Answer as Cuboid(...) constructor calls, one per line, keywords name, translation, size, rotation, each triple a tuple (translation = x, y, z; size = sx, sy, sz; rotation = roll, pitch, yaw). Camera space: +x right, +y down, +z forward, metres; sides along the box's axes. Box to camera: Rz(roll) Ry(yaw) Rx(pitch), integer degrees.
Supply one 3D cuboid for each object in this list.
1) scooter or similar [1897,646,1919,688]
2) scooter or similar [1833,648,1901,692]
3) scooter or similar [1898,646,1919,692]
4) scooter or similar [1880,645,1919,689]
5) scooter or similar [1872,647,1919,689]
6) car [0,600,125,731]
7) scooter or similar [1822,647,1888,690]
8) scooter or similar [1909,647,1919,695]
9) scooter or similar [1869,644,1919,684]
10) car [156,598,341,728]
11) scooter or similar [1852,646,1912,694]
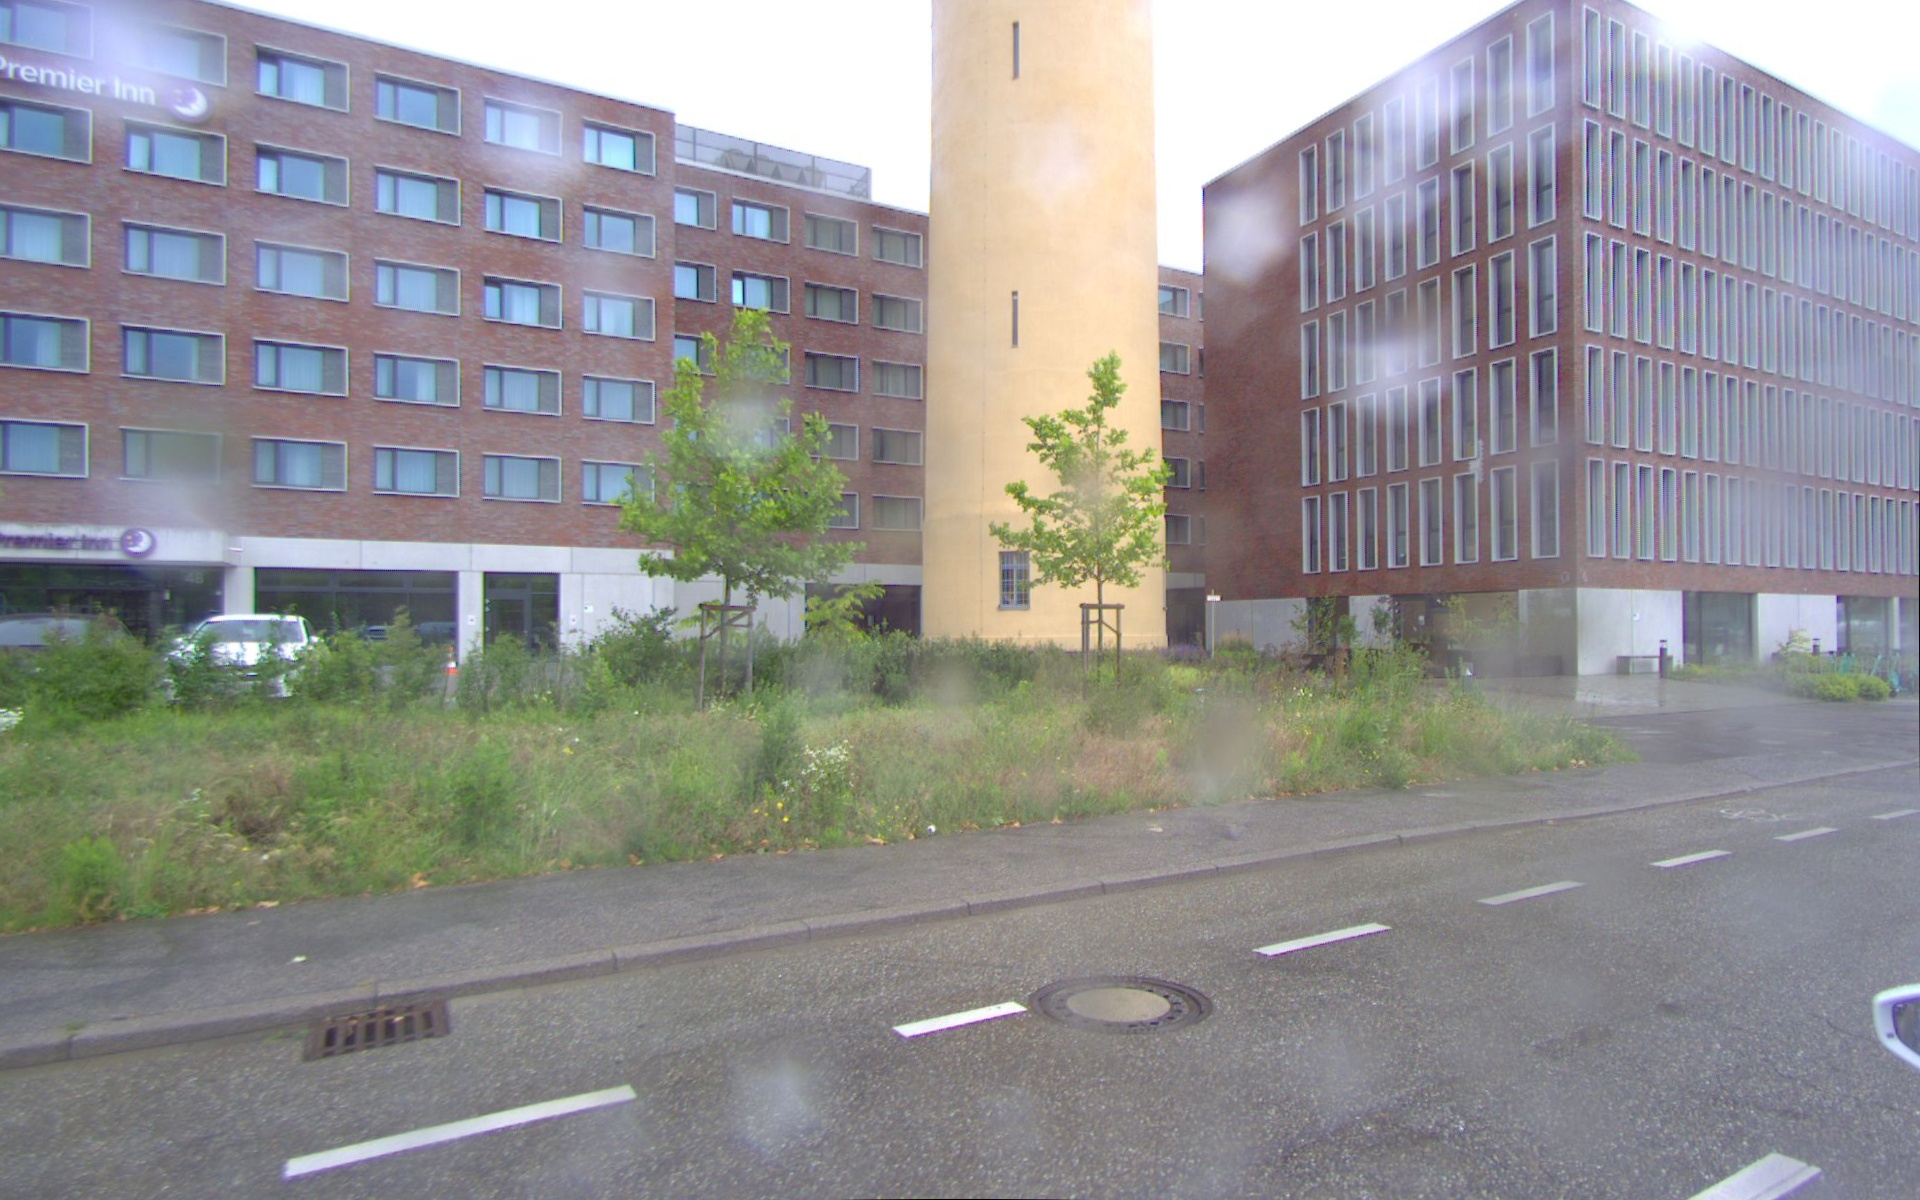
Cuboid(name="scooter or similar", translation=(28.509, 1.971, 29.613), size=(1.183, 1.224, 0.468), rotation=(-1, -2, 12))
Cuboid(name="scooter or similar", translation=(25.349, 1.939, 28.090), size=(0.461, 1.193, 1.313), rotation=(0, -2, -24))
Cuboid(name="scooter or similar", translation=(26.547, 1.898, 27.869), size=(0.459, 1.246, 1.318), rotation=(-2, -2, 31))
Cuboid(name="scooter or similar", translation=(27.743, 1.948, 29.318), size=(1.183, 1.246, 0.468), rotation=(-1, -2, 12))
Cuboid(name="scooter or similar", translation=(27.092, 1.939, 28.823), size=(0.464, 1.193, 1.305), rotation=(1, -3, -41))
Cuboid(name="car", translation=(-13.353, 0.858, 14.033), size=(1.978, 1.600, 4.496), rotation=(2, -2, -32))
Cuboid(name="scooter or similar", translation=(25.604, 1.950, 28.761), size=(0.461, 1.193, 1.313), rotation=(0, -2, -24))
Cuboid(name="scooter or similar", translation=(25.734, 1.875, 26.681), size=(1.307, 1.246, 0.463), rotation=(1, -2, -34))
Cuboid(name="scooter or similar", translation=(29.516, 2.004, 31.648), size=(0.411, 1.224, 1.224), rotation=(0, -2, -22))
Cuboid(name="car", translation=(-10.643, 0.896, 15.305), size=(1.978, 1.662, 4.496), rotation=(2, -2, -32))
Cuboid(name="scooter or similar", translation=(24.834, 1.866, 27.070), size=(0.498, 1.246, 1.322), rotation=(-1, -2, 8))
